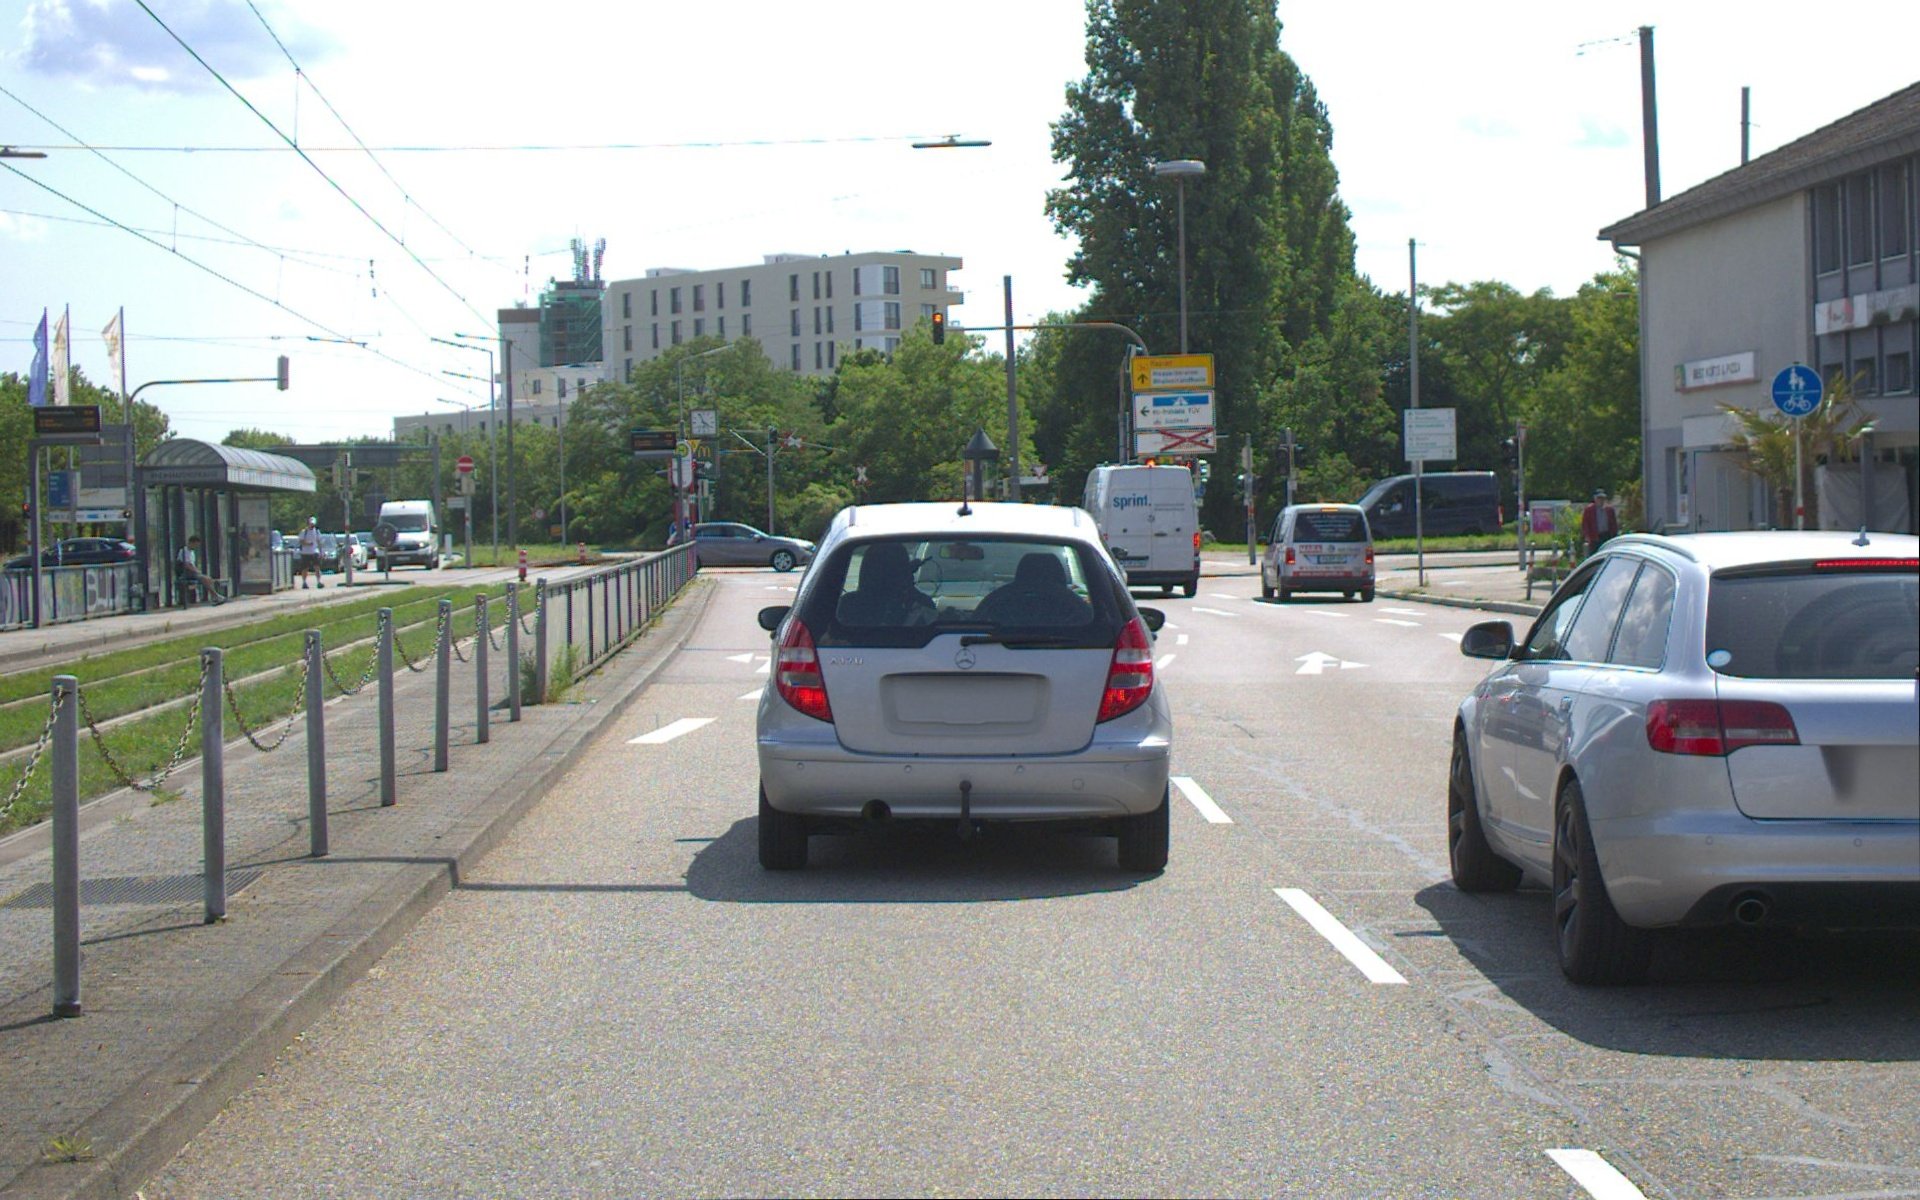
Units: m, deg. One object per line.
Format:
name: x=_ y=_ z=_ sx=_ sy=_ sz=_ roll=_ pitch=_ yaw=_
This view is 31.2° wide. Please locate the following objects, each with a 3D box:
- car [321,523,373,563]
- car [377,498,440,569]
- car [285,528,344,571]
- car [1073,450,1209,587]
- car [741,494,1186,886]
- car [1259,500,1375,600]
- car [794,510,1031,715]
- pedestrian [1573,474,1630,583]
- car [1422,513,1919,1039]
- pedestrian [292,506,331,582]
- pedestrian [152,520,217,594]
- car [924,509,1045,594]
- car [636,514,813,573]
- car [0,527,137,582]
car: x=-24.052 y=-2.262 z=134.980 sx=1.802 sy=1.536 sz=4.165 roll=0 pitch=1 yaw=-7
car: x=-20.465 y=-2.482 z=127.637 sx=1.993 sy=2.597 sz=4.880 roll=0 pitch=1 yaw=-5
car: x=-23.670 y=-1.872 z=126.144 sx=1.896 sy=1.536 sz=3.730 roll=0 pitch=1 yaw=-7
car: x=3.528 y=-1.627 z=67.852 sx=2.040 sy=2.548 sz=5.232 roll=-1 pitch=2 yaw=-4
car: x=0.007 y=0.304 z=15.991 sx=1.787 sy=1.571 sz=4.095 roll=1 pitch=2 yaw=0
car: x=6.575 y=-0.937 z=63.667 sx=1.885 sy=1.725 sz=4.094 roll=-2 pitch=1 yaw=3
car: x=-0.345 y=0.030 z=27.807 sx=1.739 sy=1.487 sz=4.630 roll=-1 pitch=2 yaw=0
pedestrian: x=10.815 y=-1.214 z=57.984 sx=0.721 sy=1.776 sz=0.703 roll=-4 pitch=2 yaw=-1
car: x=2.854 y=0.454 z=12.213 sx=1.854 sy=1.487 sz=4.536 roll=-1 pitch=2 yaw=1
pedestrian: x=-15.533 y=-1.347 z=82.287 sx=0.807 sy=1.789 sz=0.709 roll=-2 pitch=2 yaw=-16
pedestrian: x=-14.572 y=-0.813 z=64.649 sx=1.058 sy=1.371 sz=0.860 roll=0 pitch=1 yaw=-3
car: x=0.392 y=-0.878 z=60.524 sx=1.869 sy=1.415 sz=4.100 roll=0 pitch=2 yaw=-3
car: x=-6.674 y=-1.613 z=97.807 sx=4.862 sy=1.654 sz=2.000 roll=0 pitch=1 yaw=0
car: x=-30.139 y=-1.535 z=115.740 sx=4.353 sy=1.732 sz=2.000 roll=-1 pitch=2 yaw=0
